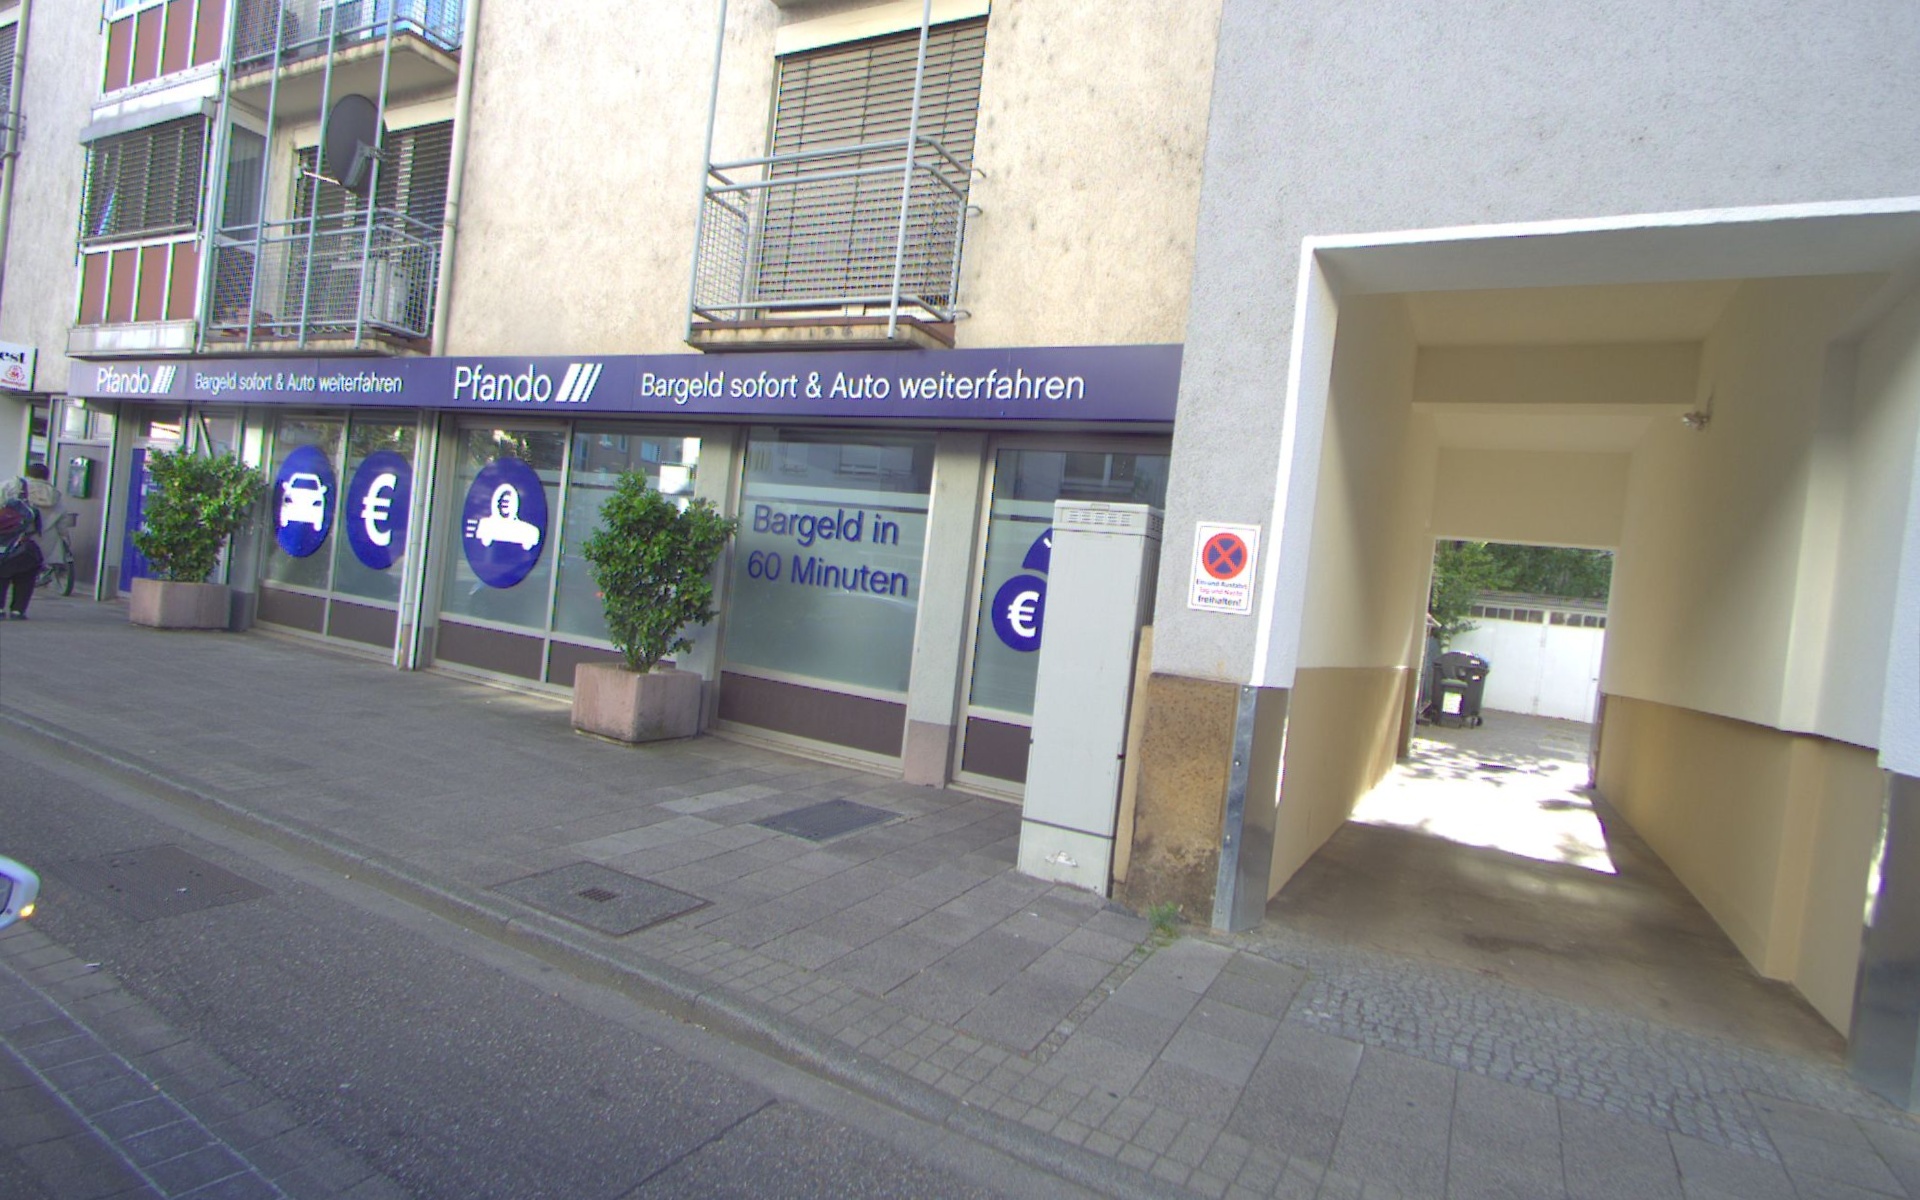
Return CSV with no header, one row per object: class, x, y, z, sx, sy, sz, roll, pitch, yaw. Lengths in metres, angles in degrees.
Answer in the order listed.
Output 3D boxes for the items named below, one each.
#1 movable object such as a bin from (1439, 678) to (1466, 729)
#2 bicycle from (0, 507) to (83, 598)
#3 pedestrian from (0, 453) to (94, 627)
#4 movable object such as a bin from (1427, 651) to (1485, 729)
movable object such as a bin,9.518,2.001,19.448,0.365,0.920,0.420,7,2,28
bicycle,-11.919,-0.629,12.831,1.678,1.010,0.543,6,-1,32
pedestrian,-9.415,-0.603,10.052,0.738,1.611,0.827,6,-1,31
movable object such as a bin,9.897,1.780,20.065,0.873,1.411,0.758,7,2,28
